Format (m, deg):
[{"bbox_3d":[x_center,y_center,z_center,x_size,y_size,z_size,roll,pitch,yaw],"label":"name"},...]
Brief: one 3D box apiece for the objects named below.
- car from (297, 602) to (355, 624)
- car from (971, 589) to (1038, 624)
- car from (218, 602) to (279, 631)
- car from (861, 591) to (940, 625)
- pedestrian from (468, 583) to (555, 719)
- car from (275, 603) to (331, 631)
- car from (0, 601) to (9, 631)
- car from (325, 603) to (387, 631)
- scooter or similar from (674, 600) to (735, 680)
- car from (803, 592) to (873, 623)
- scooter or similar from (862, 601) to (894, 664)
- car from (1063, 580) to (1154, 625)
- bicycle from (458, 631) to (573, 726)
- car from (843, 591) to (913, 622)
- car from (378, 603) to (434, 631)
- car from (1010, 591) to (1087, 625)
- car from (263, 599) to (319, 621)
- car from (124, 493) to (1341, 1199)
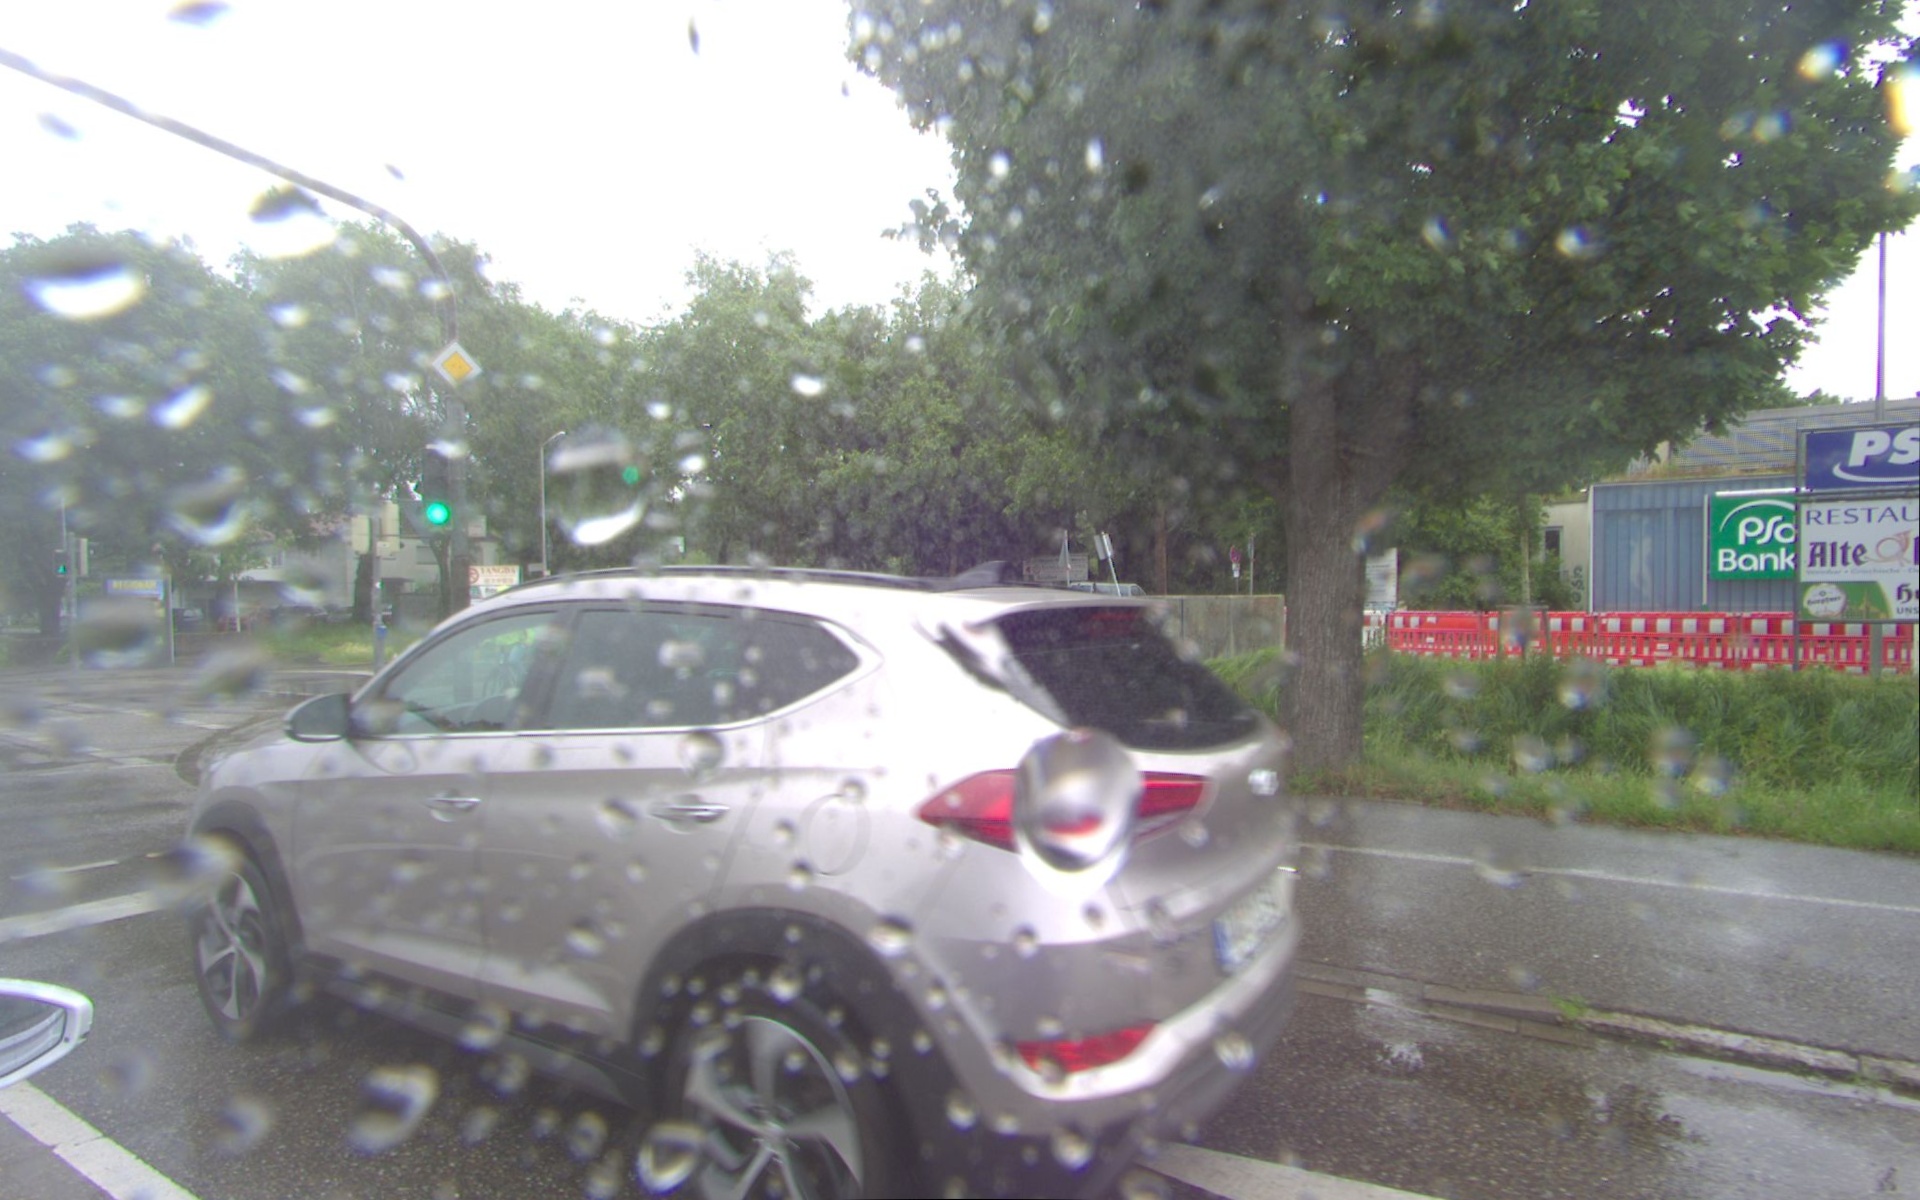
[{"bbox_3d":[-42.418,0.865,66.973,3.940,1.403,1.582,-1,-2,29],"label":"car"},{"bbox_3d":[2.261,0.363,49.837,1.697,1.617,3.649,-1,-2,34],"label":"car"},{"bbox_3d":[-37.681,0.918,53.120,1.641,1.467,3.744,0,-2,-19],"label":"car"},{"bbox_3d":[-3.051,0.476,52.236,1.898,1.651,4.579,-1,-2,31],"label":"car"},{"bbox_3d":[-5.808,0.646,13.012,0.774,1.702,0.668,-1,3,-1],"label":"pedestrian"},{"bbox_3d":[-35.468,0.945,54.143,1.641,1.467,3.744,0,-2,-19],"label":"car"},{"bbox_3d":[-58.556,1.003,59.262,4.805,1.740,1.990,-1,1,30],"label":"car"},{"bbox_3d":[-32.874,0.954,54.590,1.638,1.467,3.751,0,-2,-11],"label":"car"},{"bbox_3d":[-4.104,0.624,16.103,0.317,1.246,0.954,0,1,36],"label":"scooter or similar"},{"bbox_3d":[-6.766,0.445,56.067,1.894,1.604,4.590,-1,-2,23],"label":"car"},{"bbox_3d":[-1.552,0.611,19.044,0.553,1.192,0.284,0,1,39],"label":"scooter or similar"},{"bbox_3d":[6.976,0.156,46.842,4.145,1.990,1.912,1,-2,-37],"label":"car"},{"bbox_3d":[-5.809,0.994,13.202,0.774,1.052,1.663,-1,2,-1],"label":"bicycle"},{"bbox_3d":[-4.414,0.401,54.818,1.894,1.604,4.590,-1,-2,23],"label":"car"},{"bbox_3d":[-30.489,0.968,55.167,1.573,1.467,3.751,0,-2,-11],"label":"car"},{"bbox_3d":[4.292,0.431,48.114,1.900,1.508,4.171,-1,-2,34],"label":"car"},{"bbox_3d":[-43.382,0.673,64.928,3.646,1.333,1.571,-1,-1,29],"label":"car"},{"bbox_3d":[-0.994,0.698,3.593,4.135,1.631,1.881,-2,-1,32],"label":"car"}]
